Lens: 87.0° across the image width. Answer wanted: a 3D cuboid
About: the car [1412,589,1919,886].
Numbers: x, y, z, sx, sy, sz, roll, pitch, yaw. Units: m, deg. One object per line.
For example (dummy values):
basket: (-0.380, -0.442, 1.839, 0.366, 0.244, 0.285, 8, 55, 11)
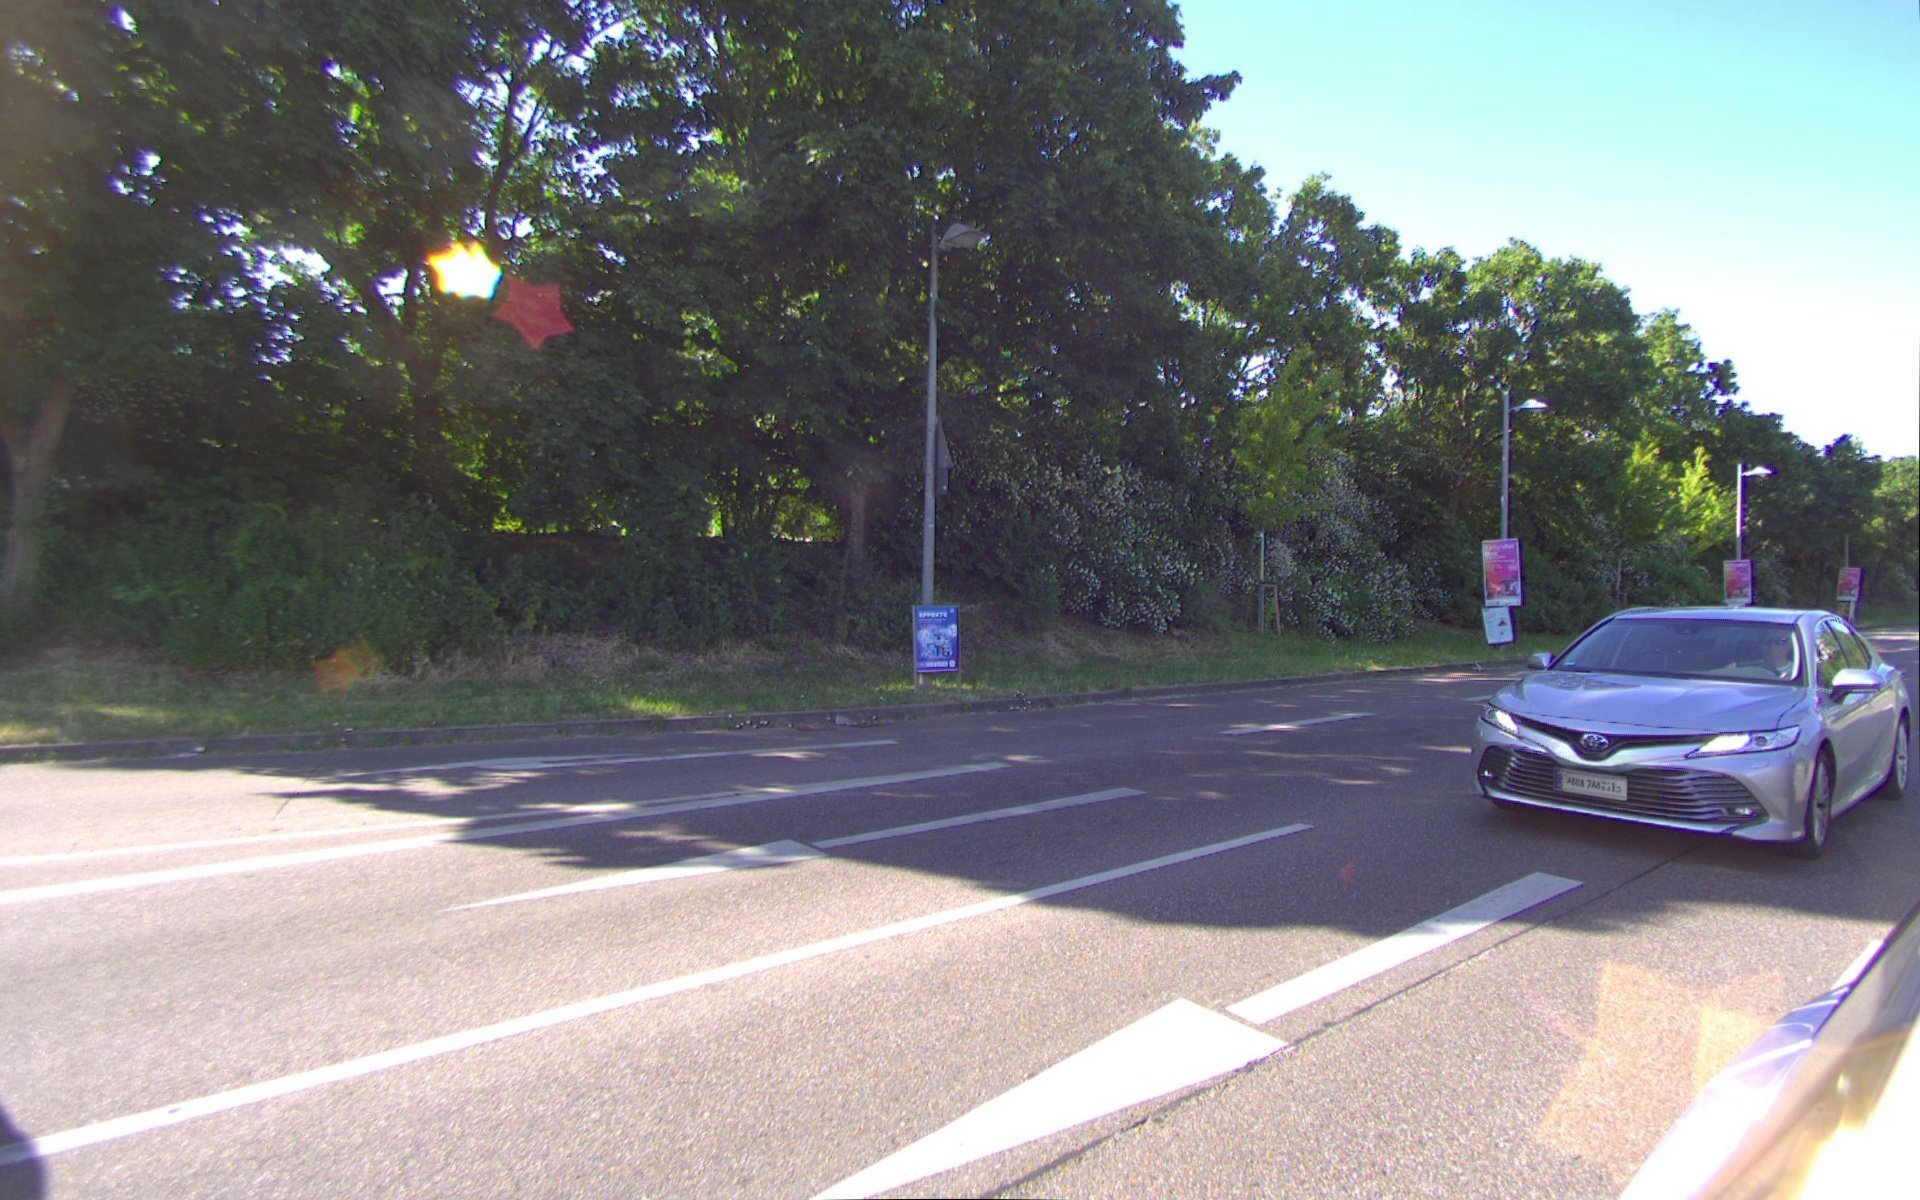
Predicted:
car: (5.483, 0.689, 7.474, 4.664, 1.477, 2.069, 0, 2, -40)
